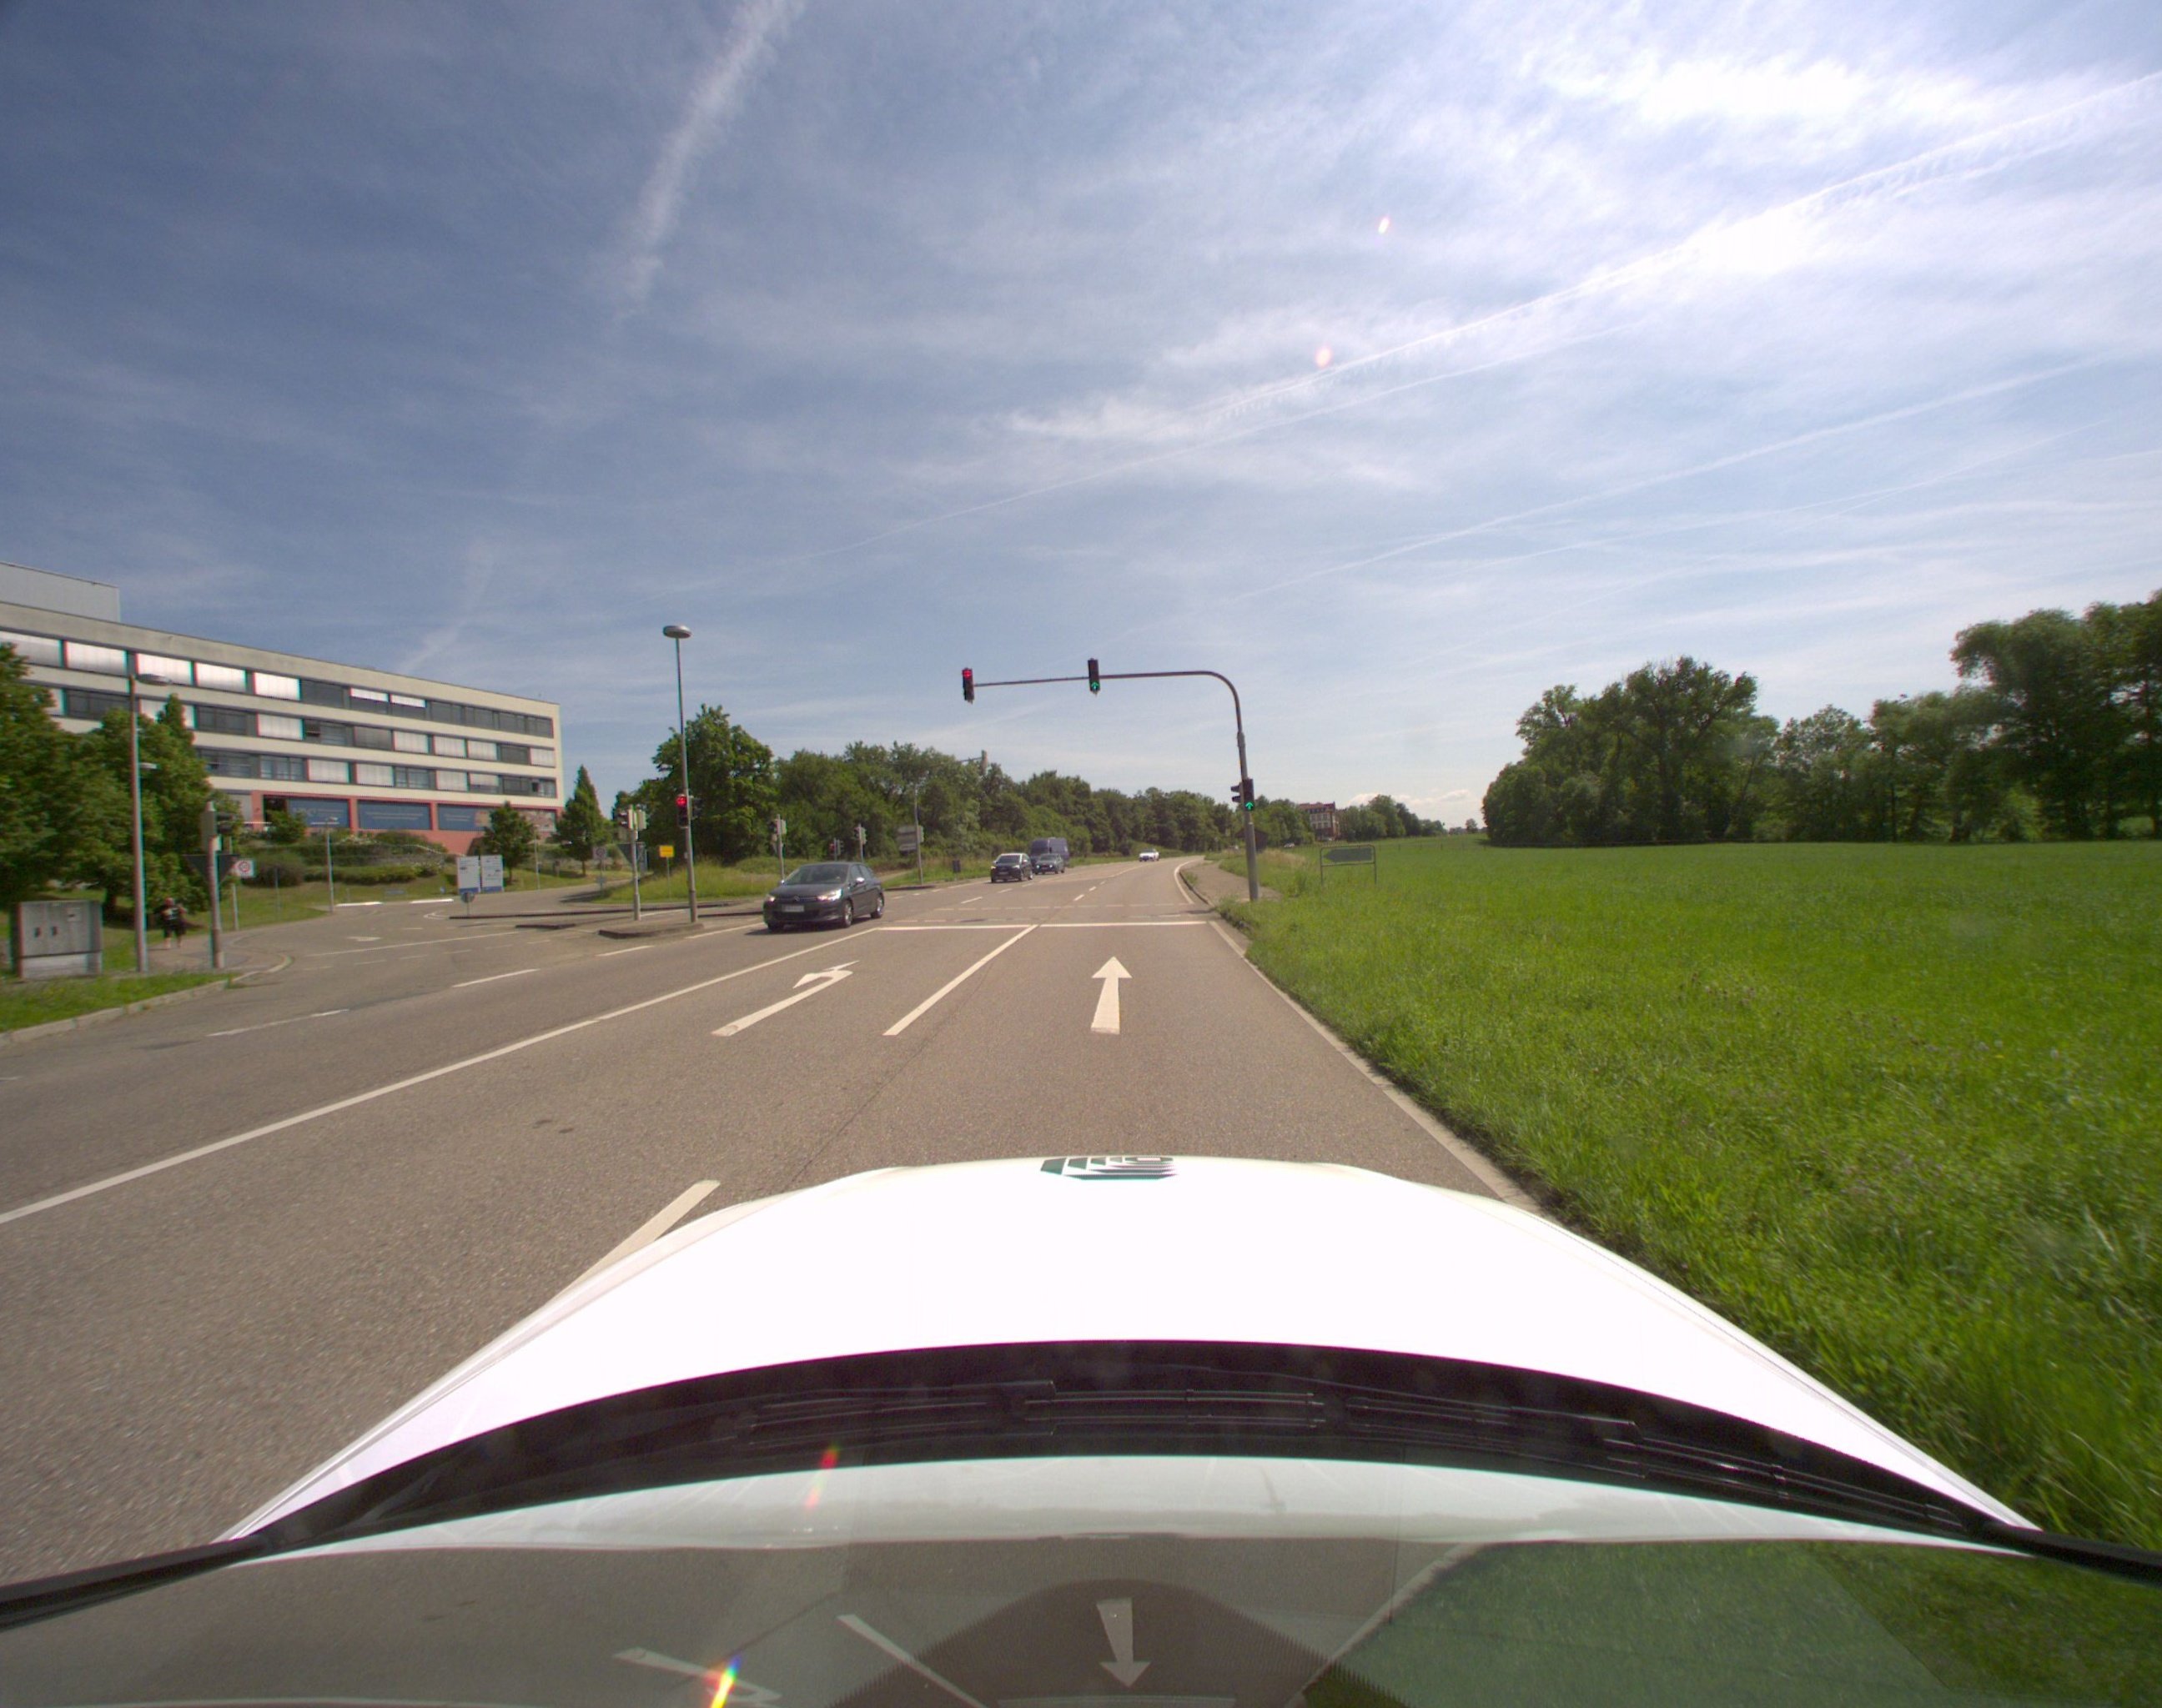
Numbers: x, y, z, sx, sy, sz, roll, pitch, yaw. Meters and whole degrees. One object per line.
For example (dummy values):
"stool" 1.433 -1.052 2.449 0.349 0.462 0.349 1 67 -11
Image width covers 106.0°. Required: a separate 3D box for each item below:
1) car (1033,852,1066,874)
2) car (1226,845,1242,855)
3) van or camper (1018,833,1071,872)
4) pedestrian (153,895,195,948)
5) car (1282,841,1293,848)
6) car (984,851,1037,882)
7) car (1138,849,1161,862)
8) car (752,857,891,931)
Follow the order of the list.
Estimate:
"car" -2.278 0.623 59.323 1.697 1.483 3.840 -2 0 8
"car" 27.696 -0.722 147.207 1.976 1.574 4.022 -2 0 23
"van or camper" -2.894 -0.233 67.397 2.223 2.913 7.276 -3 1 14
"pedestrian" -31.403 2.322 28.185 0.910 1.736 0.905 -2 0 40
"car" 52.398 -2.369 206.794 1.738 1.534 4.253 -2 0 25
"car" -3.870 0.652 45.411 1.963 1.562 4.198 -2 0 8
"car" 8.732 0.166 103.528 1.922 1.548 4.648 -2 0 16
"car" -5.952 0.849 19.263 1.785 1.474 4.311 -2 0 1
